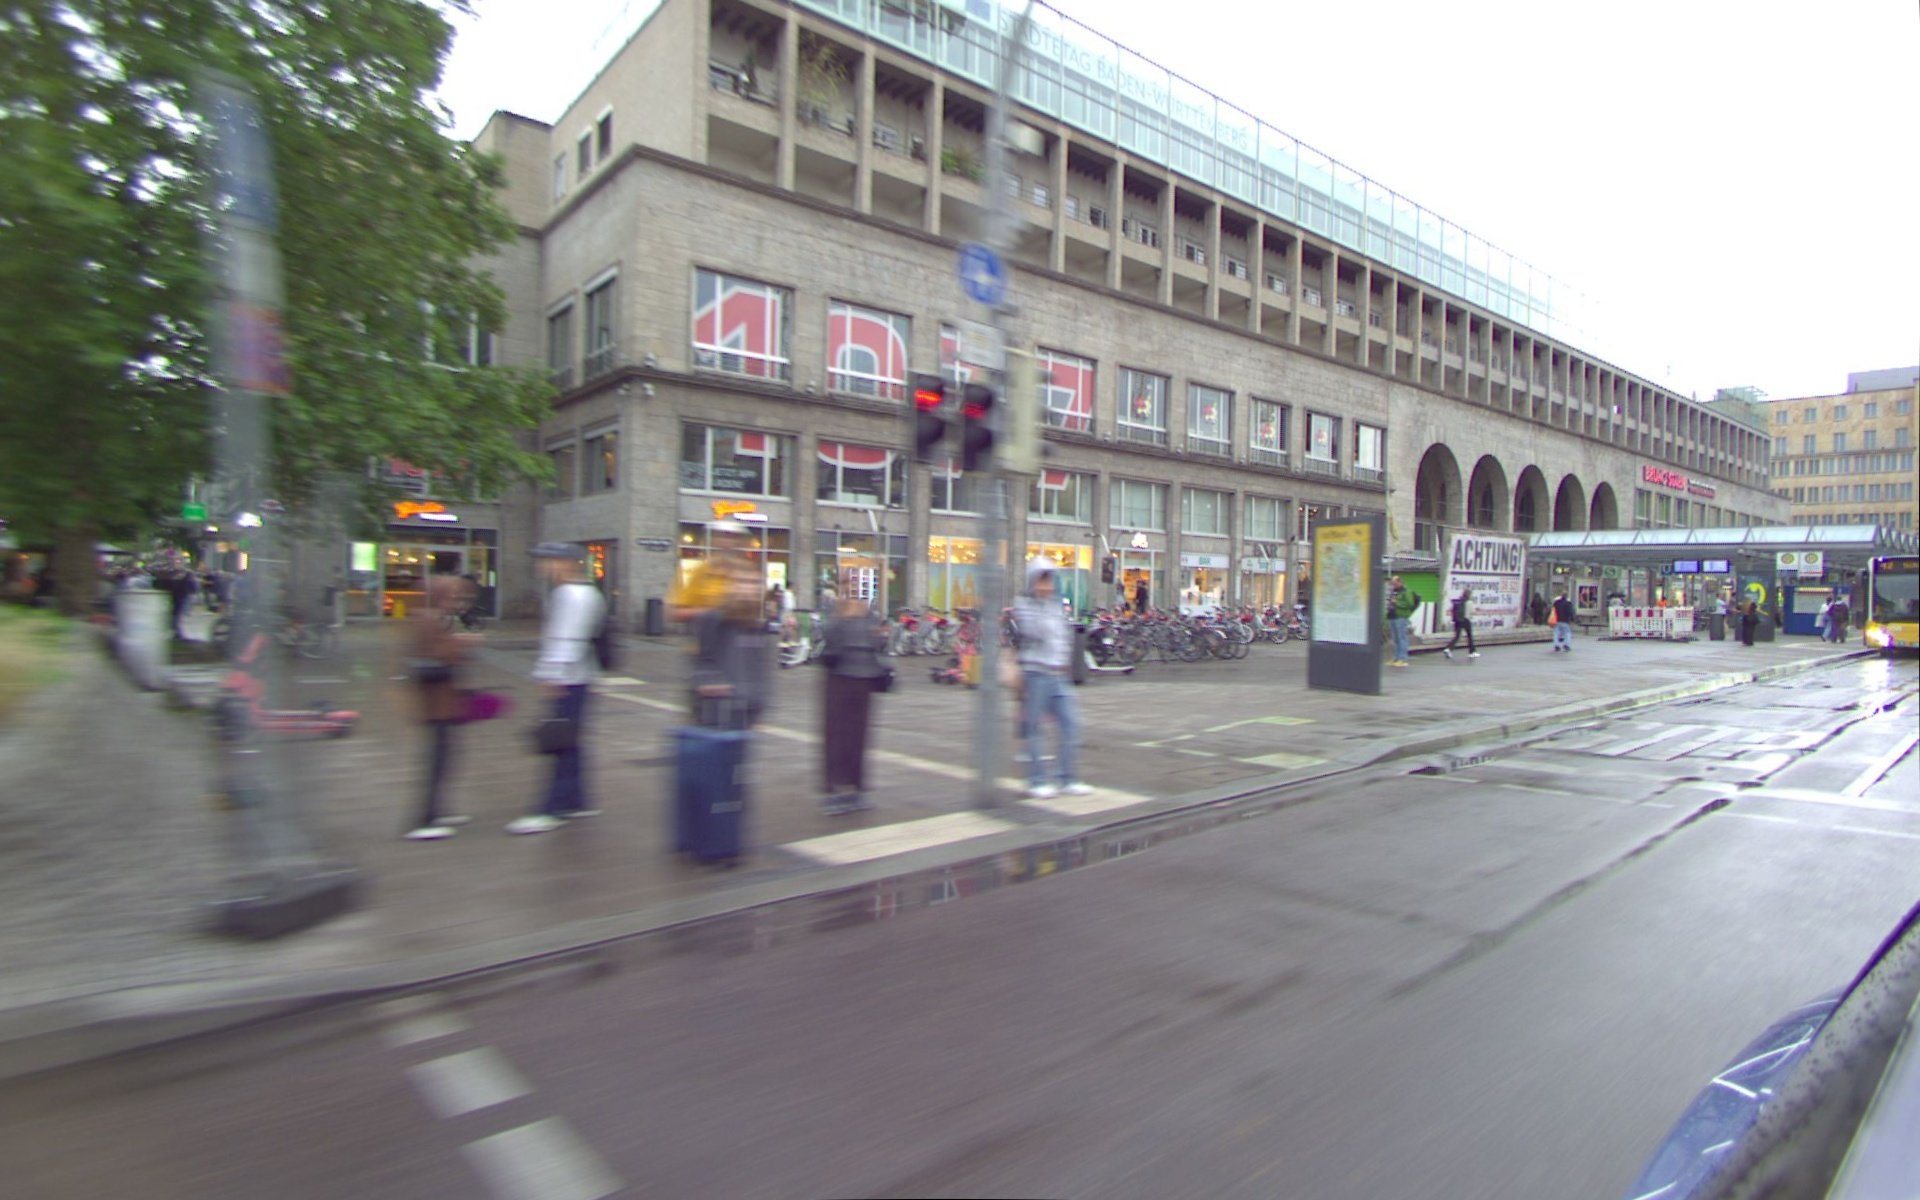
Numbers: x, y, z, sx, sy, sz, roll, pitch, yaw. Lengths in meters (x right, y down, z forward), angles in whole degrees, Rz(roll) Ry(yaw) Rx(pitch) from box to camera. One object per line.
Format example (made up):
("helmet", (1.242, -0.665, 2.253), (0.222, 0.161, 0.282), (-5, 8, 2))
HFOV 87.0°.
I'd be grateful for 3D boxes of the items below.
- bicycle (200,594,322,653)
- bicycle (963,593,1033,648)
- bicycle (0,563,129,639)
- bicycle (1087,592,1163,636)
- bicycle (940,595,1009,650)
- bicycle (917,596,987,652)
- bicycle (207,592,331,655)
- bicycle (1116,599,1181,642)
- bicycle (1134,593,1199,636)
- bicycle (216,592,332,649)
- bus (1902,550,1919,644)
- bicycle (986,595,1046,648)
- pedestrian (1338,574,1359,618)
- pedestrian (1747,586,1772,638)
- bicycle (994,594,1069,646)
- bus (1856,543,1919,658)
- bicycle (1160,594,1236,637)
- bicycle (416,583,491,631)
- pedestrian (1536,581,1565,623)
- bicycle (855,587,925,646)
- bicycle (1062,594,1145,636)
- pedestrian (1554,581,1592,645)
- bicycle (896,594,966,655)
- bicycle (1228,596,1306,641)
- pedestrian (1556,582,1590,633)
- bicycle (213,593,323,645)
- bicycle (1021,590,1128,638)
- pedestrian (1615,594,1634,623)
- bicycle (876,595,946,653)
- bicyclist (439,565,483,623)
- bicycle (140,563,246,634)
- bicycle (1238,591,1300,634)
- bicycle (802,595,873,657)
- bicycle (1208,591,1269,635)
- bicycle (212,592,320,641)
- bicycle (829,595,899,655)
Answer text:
("bicycle", (-13.982, 0.451, 20.306), (1.985, 1.115, 0.618), (0, 2, -33))
("bicycle", (0.954, 0.499, 25.966), (0.606, 1.281, 1.995), (0, 2, -38))
("bicycle", (-19.551, 0.021, 22.078), (2.089, 1.582, 0.796), (0, 0, -33))
("bicycle", (4.671, 0.374, 28.710), (1.971, 1.123, 0.815), (3, 2, 36))
("bicycle", (0.341, 0.542, 25.543), (0.606, 1.252, 1.995), (0, 2, -38))
("bicycle", (-0.218, 0.575, 25.173), (0.606, 1.252, 1.995), (0, 2, -38))
("bicycle", (-13.348, 0.442, 19.620), (1.957, 1.132, 0.618), (0, 2, -33))
("bicycle", (5.418, 0.571, 29.088), (1.685, 1.123, 0.666), (3, 2, 36))
("bicycle", (6.029, 0.410, 29.580), (1.720, 1.123, 0.681), (3, 2, 28))
("bicycle", (-14.321, 0.420, 21.192), (1.985, 1.115, 0.618), (0, 2, -33))
("bus", (37.568, -0.152, 37.241), (8.973, 3.288, 3.147), (-1, 0, -40))
("bicycle", (1.438, 0.540, 26.357), (0.606, 1.240, 1.620), (0, 2, -38))
("pedestrian", (17.291, -0.192, 45.047), (0.781, 1.953, 0.649), (1, 1, 26))
("pedestrian", (25.142, 0.372, 31.838), (0.592, 1.639, 0.504), (-1, 0, 40))
("bicycle", (1.887, 0.505, 26.934), (1.985, 1.252, 0.609), (3, 2, 38))
("bus", (30.696, -0.035, 31.409), (9.080, 3.245, 3.119), (-1, 0, -41))
("bicycle", (7.131, 0.448, 30.284), (2.068, 1.153, 0.882), (3, 2, 25))
("bicycle", (-14.043, 0.178, 28.081), (1.987, 1.271, 0.658), (1, 0, 19))
("pedestrian", (25.929, 0.058, 44.438), (0.981, 1.815, 0.783), (1, 1, 22))
("bicycle", (-1.666, 0.359, 23.932), (0.606, 1.252, 1.995), (0, 2, -38))
("bicycle", (3.974, 0.393, 28.131), (2.218, 1.123, 0.733), (0, 0, 35))
("pedestrian", (15.821, 0.323, 26.138), (0.491, 1.639, 0.654), (0, 1, -25))
("bicycle", (-0.733, 0.572, 24.737), (0.606, 1.352, 1.995), (0, 2, -38))
("bicycle", (9.309, 0.560, 30.740), (2.144, 1.252, 0.619), (2, 2, -5))
("pedestrian", (22.312, 0.258, 36.836), (0.741, 1.815, 0.736), (0, 1, -25))
("bicycle", (-15.037, 0.406, 22.055), (1.957, 1.068, 0.618), (0, 2, -33))
("bicycle", (3.115, 0.356, 27.752), (2.871, 1.123, 0.868), (3, 2, 38))
("pedestrian", (38.379, 0.458, 58.471), (0.792, 1.639, 0.859), (1, 1, 40))
("bicycle", (-1.202, 0.554, 24.322), (0.606, 1.252, 1.995), (0, 2, -38))
("bicyclist", (-13.773, -0.165, 27.949), (0.895, 1.574, 0.648), (1, 1, 18))
("bicycle", (-18.388, -0.026, 24.323), (1.957, 1.654, 0.618), (0, 0, -33))
("bicycle", (9.841, 0.393, 32.322), (0.605, 1.252, 1.999), (1, 2, -29))
("bicycle", (-2.788, 0.555, 22.824), (0.606, 1.252, 1.995), (0, 2, -38))
("bicycle", (8.870, 0.396, 32.331), (0.605, 1.252, 1.999), (1, 2, -30))
("bicycle", (-15.486, 0.363, 22.655), (1.957, 1.038, 0.618), (0, 2, -33))
("bicycle", (-2.241, 0.557, 23.469), (0.606, 1.252, 1.995), (0, 2, -38))
